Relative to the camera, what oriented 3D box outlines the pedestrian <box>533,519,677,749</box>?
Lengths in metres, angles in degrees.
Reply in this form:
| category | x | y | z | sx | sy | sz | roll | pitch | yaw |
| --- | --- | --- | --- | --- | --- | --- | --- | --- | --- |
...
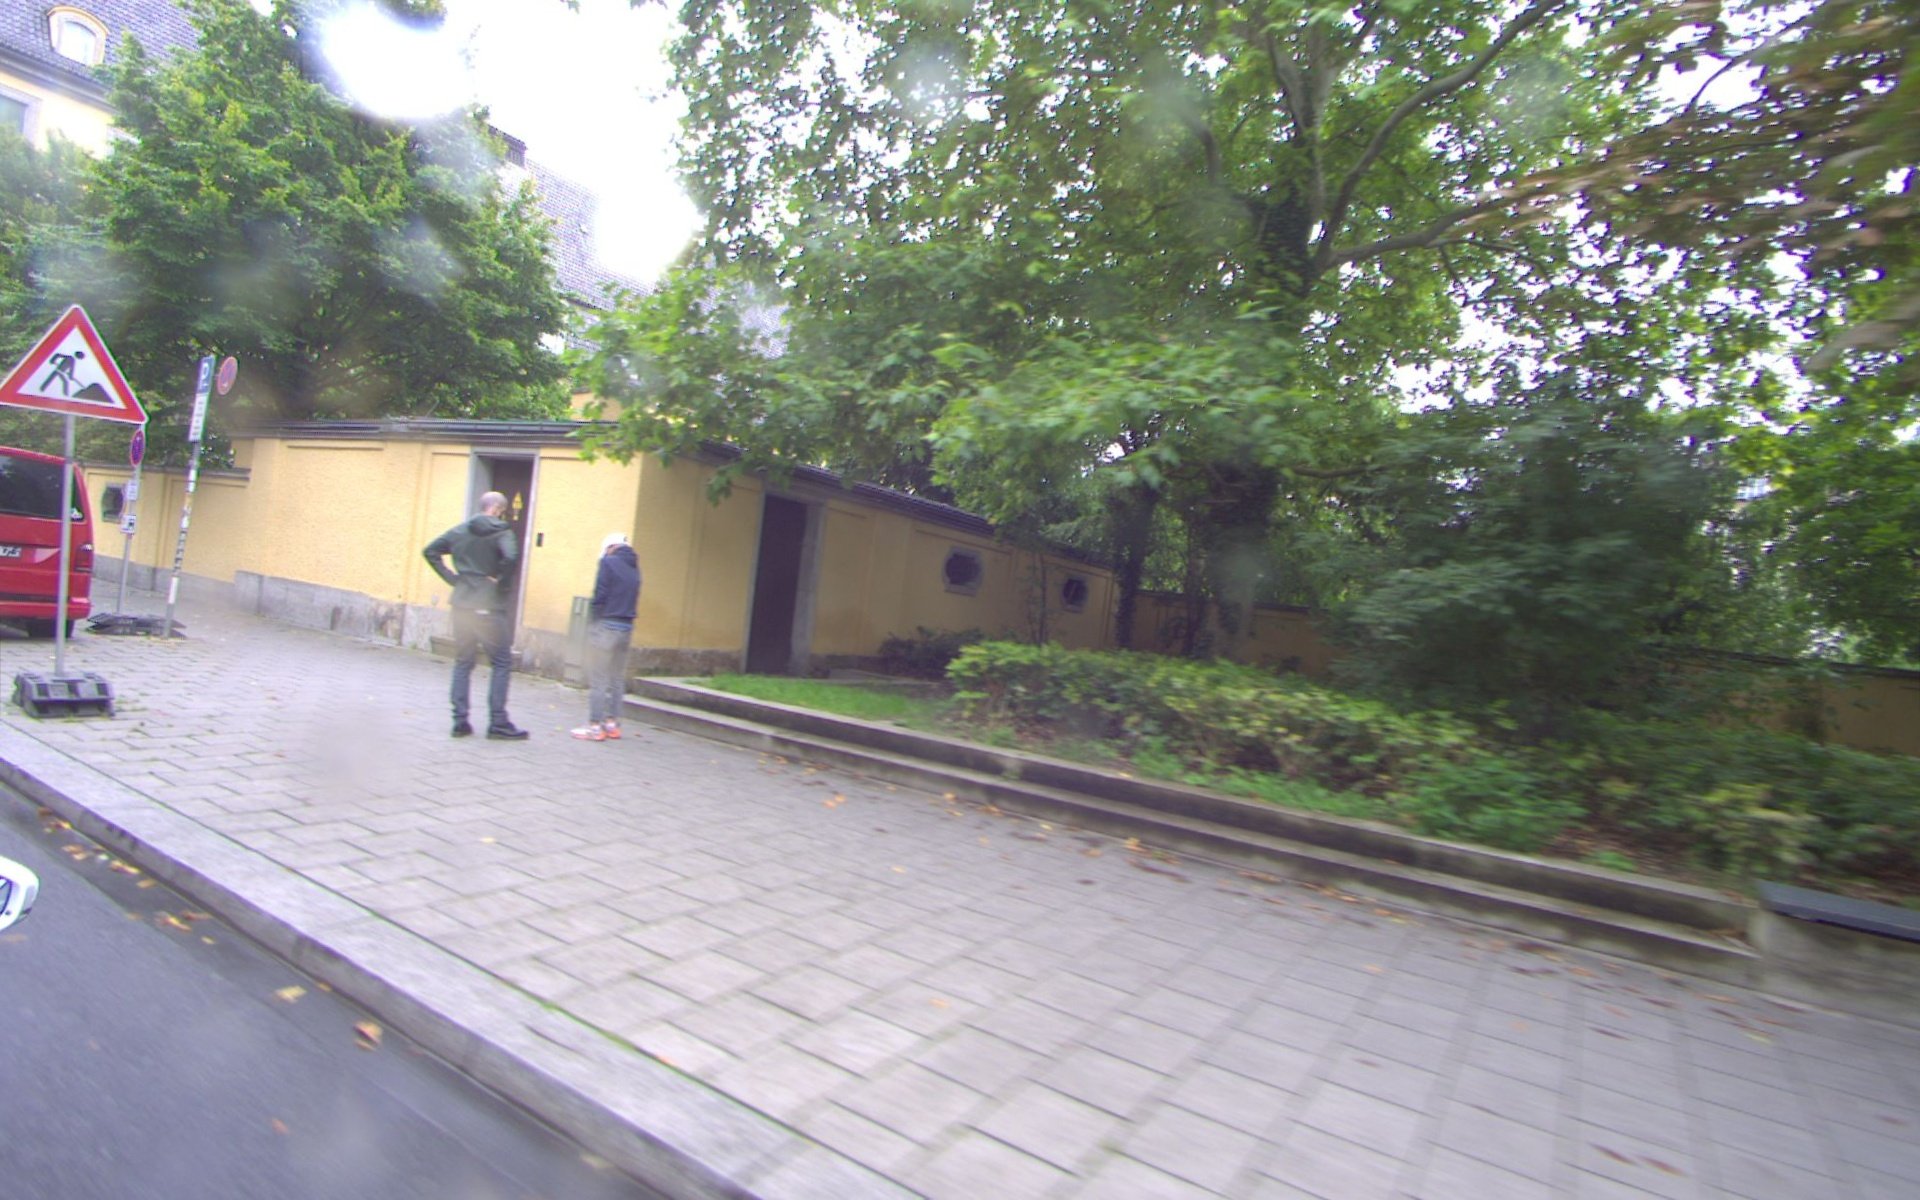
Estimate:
| category | x | y | z | sx | sy | sz | roll | pitch | yaw |
| --- | --- | --- | --- | --- | --- | --- | --- | --- | --- |
| pedestrian | -2.808 | 0.266 | 8.007 | 0.684 | 1.688 | 0.635 | 7 | 1 | 11 |

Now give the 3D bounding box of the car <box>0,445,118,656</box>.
| category | x | y | z | sx | sy | sz | roll | pitch | yaw |
| --- | --- | --- | --- | --- | --- | --- | --- | --- | --- |
| car | -11.208 | -0.716 | 10.643 | 4.886 | 1.960 | 1.914 | 6 | 0 | 31 |

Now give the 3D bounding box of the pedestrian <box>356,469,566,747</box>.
| category | x | y | z | sx | sy | sz | roll | pitch | yaw |
| --- | --- | --- | --- | --- | --- | --- | --- | --- | --- |
| pedestrian | -3.681 | 0.063 | 7.494 | 0.934 | 1.859 | 0.822 | 7 | 0 | 6 |
